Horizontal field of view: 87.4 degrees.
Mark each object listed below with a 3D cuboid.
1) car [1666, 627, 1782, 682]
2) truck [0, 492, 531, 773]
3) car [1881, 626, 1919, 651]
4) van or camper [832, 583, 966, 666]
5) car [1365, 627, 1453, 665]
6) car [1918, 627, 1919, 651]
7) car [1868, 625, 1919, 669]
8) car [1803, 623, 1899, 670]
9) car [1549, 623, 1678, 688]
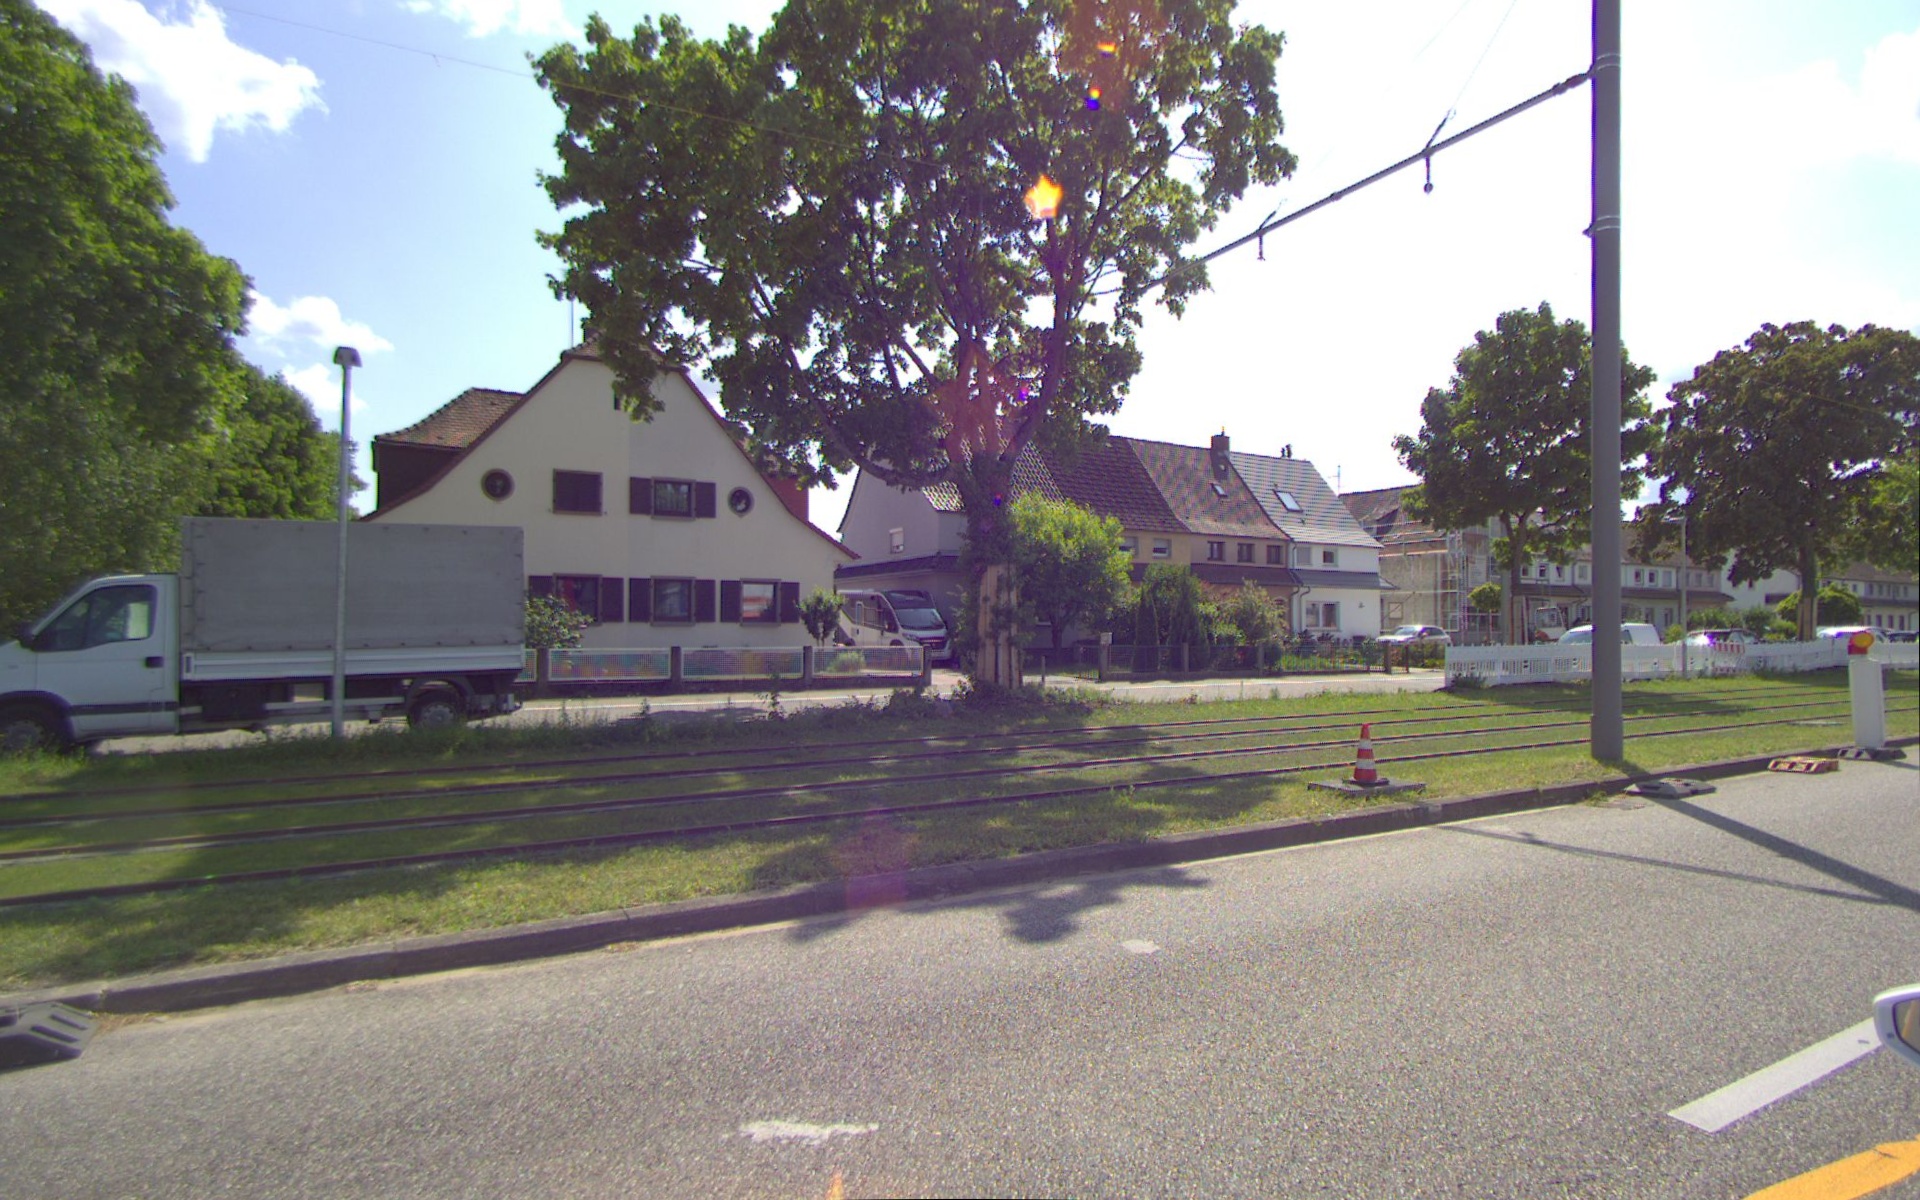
[{"bbox_3d":[25.752,1.801,33.827,4.006,1.762,1.691,1,-2,-30],"label":"car"},{"bbox_3d":[-8.793,0.413,12.936,5.805,3.027,1.994,1,-2,-30],"label":"truck"},{"bbox_3d":[66.760,2.686,70.729,4.013,1.762,1.691,1,-2,-30],"label":"car"},{"bbox_3d":[-2.345,0.908,36.652,2.224,2.745,5.963,1,-2,-33],"label":"van or camper"},{"bbox_3d":[19.895,1.995,44.480,3.814,1.614,1.691,1,-2,-30],"label":"car"},{"bbox_3d":[72.143,2.851,73.665,4.013,1.762,1.691,1,-2,-30],"label":"car"},{"bbox_3d":[40.395,1.963,42.600,3.814,1.762,1.691,1,-2,-30],"label":"car"},{"bbox_3d":[34.977,1.805,39.403,3.814,1.762,1.691,1,-2,-30],"label":"car"},{"bbox_3d":[19.507,1.606,29.961,3.814,1.841,1.691,1,-2,-30],"label":"car"}]
